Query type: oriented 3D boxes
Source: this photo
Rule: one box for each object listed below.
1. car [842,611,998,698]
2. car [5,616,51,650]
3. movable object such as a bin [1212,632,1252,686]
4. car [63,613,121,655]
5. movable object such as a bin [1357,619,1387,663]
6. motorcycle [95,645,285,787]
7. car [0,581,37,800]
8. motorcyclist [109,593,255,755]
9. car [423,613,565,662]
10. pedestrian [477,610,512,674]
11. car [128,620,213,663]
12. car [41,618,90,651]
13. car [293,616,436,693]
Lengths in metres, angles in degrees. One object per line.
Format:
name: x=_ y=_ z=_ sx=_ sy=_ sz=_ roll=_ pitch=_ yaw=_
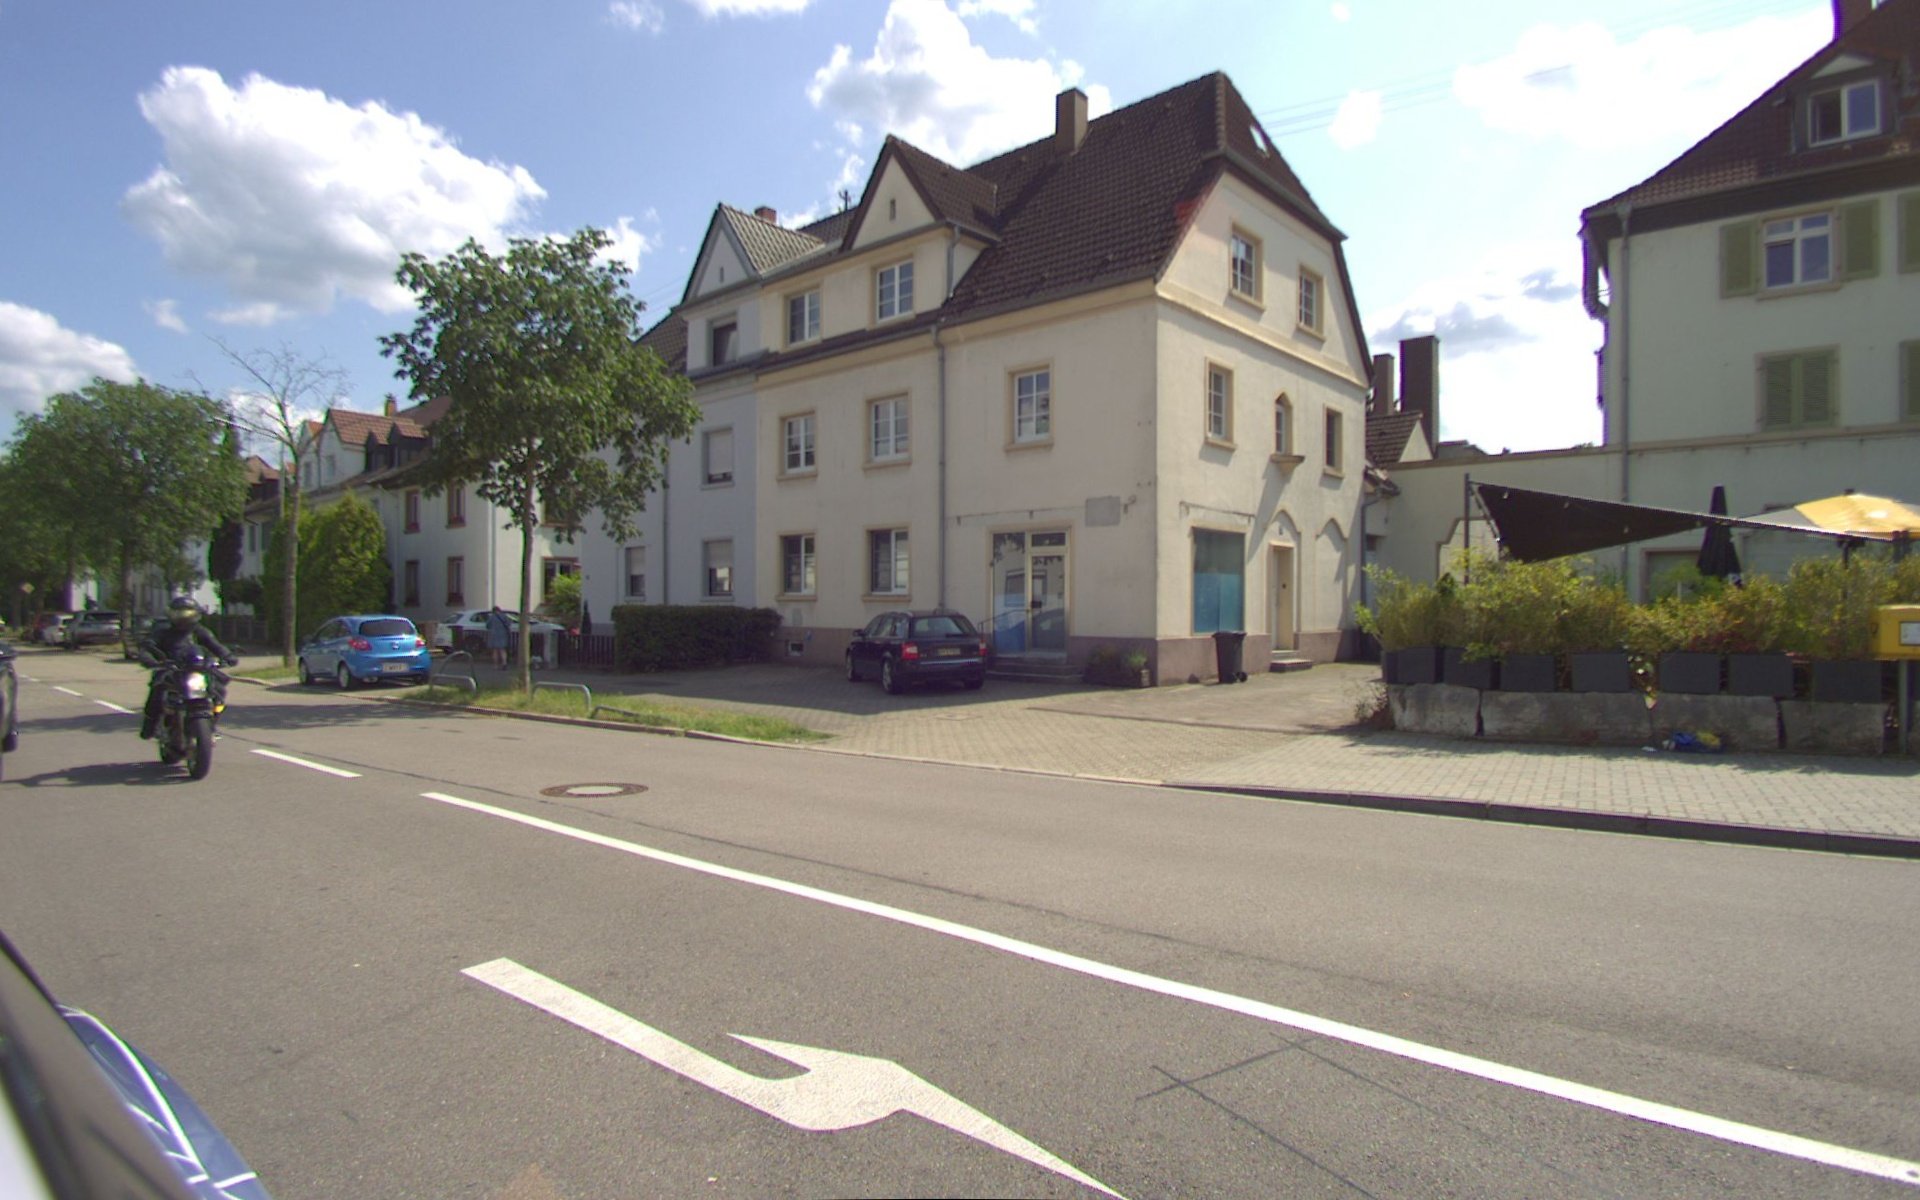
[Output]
car: x=-0.860 y=0.911 z=18.541 sx=1.732 sy=1.397 sz=4.115 roll=0 pitch=-1 yaw=-19
car: x=-47.846 y=1.682 z=51.941 sx=3.252 sy=1.667 sz=1.541 roll=-1 pitch=-2 yaw=45
movable object such as a bin: x=5.122 y=1.097 z=19.034 sx=0.510 sy=0.979 sz=0.607 roll=-1 pitch=-2 yaw=41
car: x=-36.301 y=1.406 z=42.278 sx=3.575 sy=1.667 sz=1.541 roll=-1 pitch=-2 yaw=45
movable object such as a bin: x=9.999 y=0.988 z=24.574 sx=0.510 sy=1.053 sz=0.607 roll=-1 pitch=-2 yaw=41
motorcycle: x=-7.267 y=1.015 z=9.499 sx=2.355 sy=1.136 sz=0.833 roll=-1 pitch=-1 yaw=38
car: x=-10.034 y=0.761 z=9.333 sx=4.873 sy=1.777 sz=1.753 roll=-1 pitch=-1 yaw=42
motorcyclist: x=-7.327 y=0.676 z=9.532 sx=1.098 sy=1.409 sz=0.815 roll=-4 pitch=-2 yaw=38
car: x=-14.836 y=1.153 z=32.342 sx=1.711 sy=1.465 sz=3.753 roll=-1 pitch=-1 yaw=44
pedestrian: x=-11.426 y=1.020 z=24.847 sx=0.622 sy=1.547 sz=0.619 roll=1 pitch=-1 yaw=-41
car: x=-25.830 y=1.316 z=33.076 sx=3.919 sy=1.306 sz=1.686 roll=-1 pitch=-1 yaw=45
car: x=-40.867 y=1.551 z=46.201 sx=1.601 sy=1.436 sz=3.004 roll=0 pitch=-1 yaw=-43
car: x=-12.508 y=1.091 z=21.221 sx=3.153 sy=1.473 sz=1.687 roll=-1 pitch=-1 yaw=41
